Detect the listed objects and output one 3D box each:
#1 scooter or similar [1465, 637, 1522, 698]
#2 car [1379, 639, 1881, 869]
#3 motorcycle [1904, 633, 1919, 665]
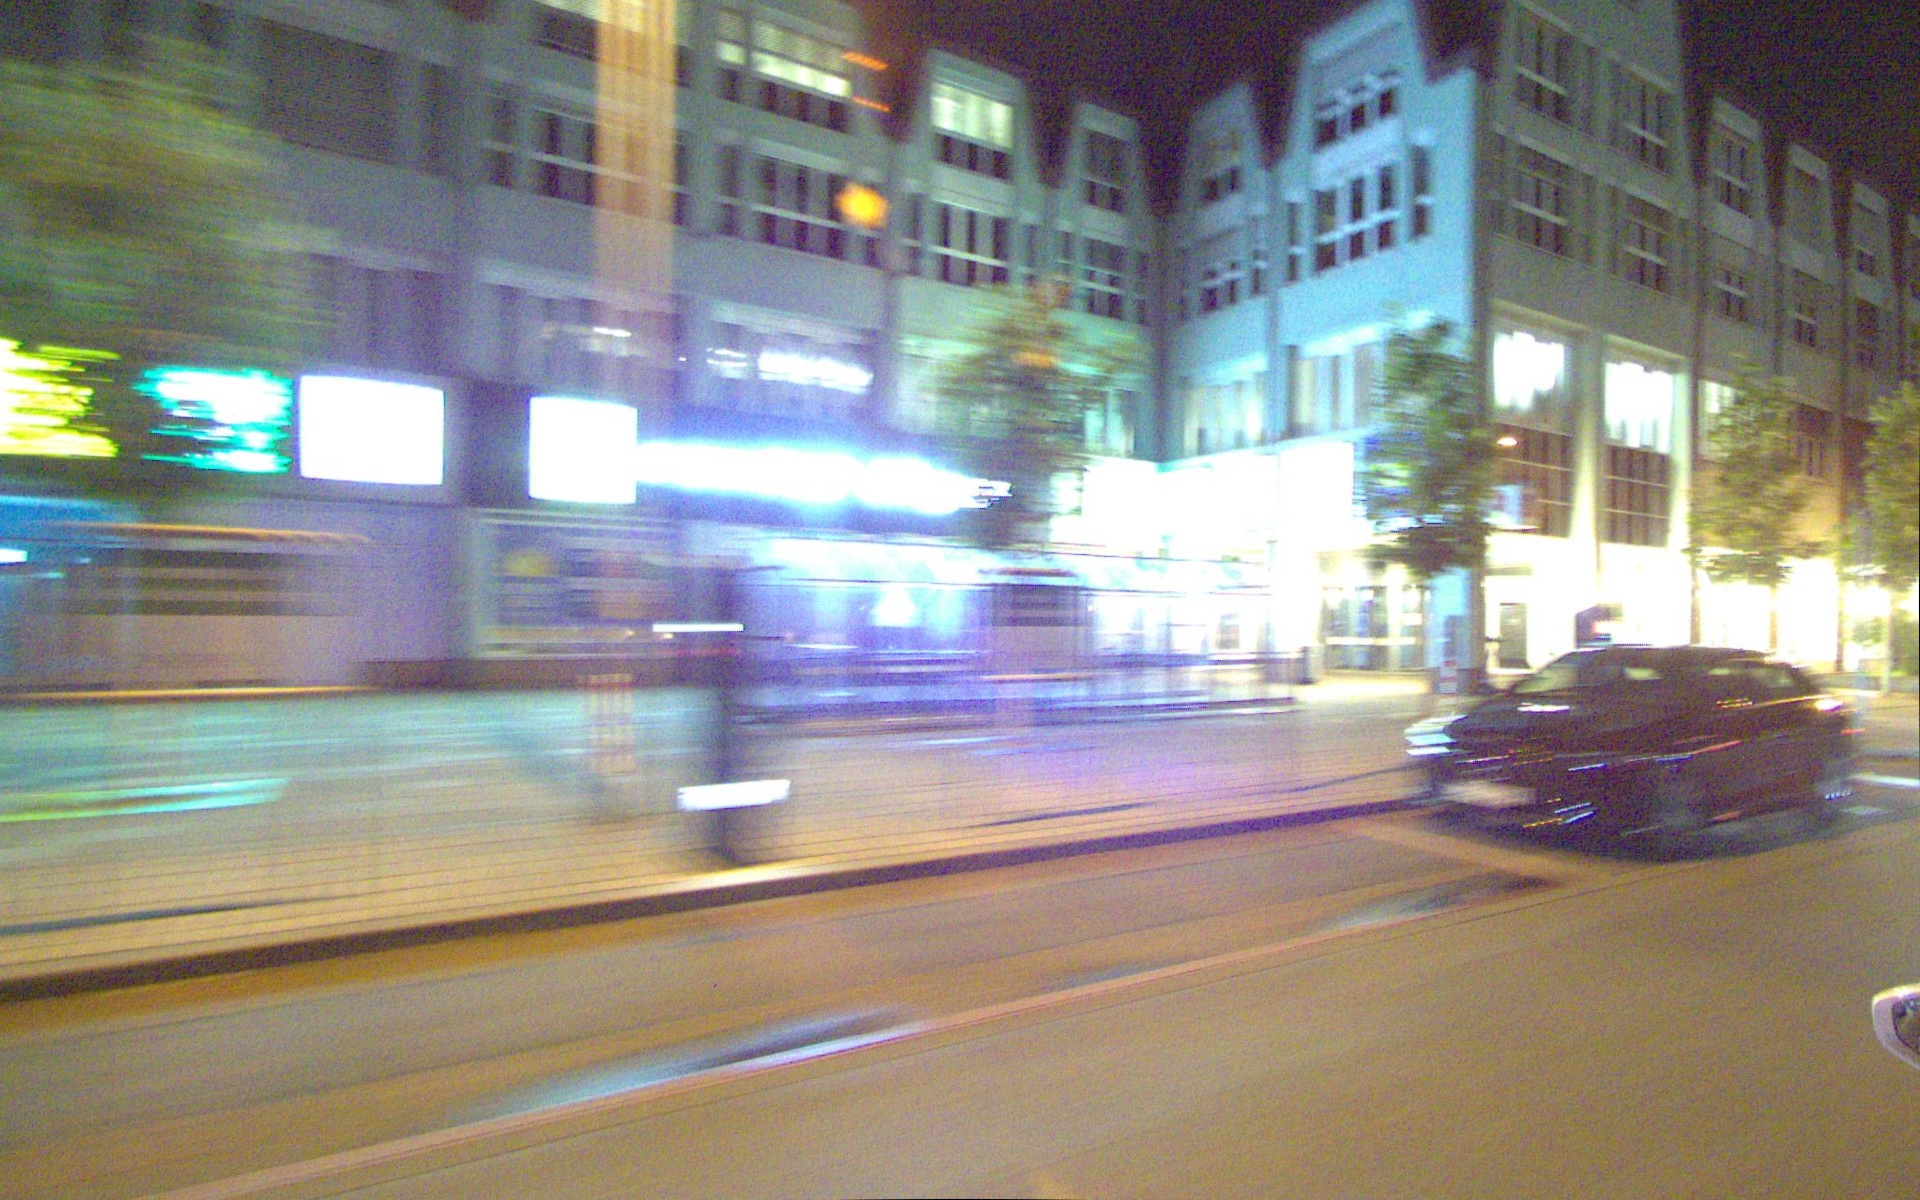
[{"bbox_3d":[11.106,1.395,20.893,1.327,1.237,0.386,1,-1,-28],"label":"scooter or similar"},{"bbox_3d":[5.685,1.071,8.385,4.443,1.432,1.733,1,-1,-30],"label":"car"},{"bbox_3d":[32.184,1.623,33.420,1.650,1.034,0.477,1,-1,-21],"label":"motorcycle"}]
